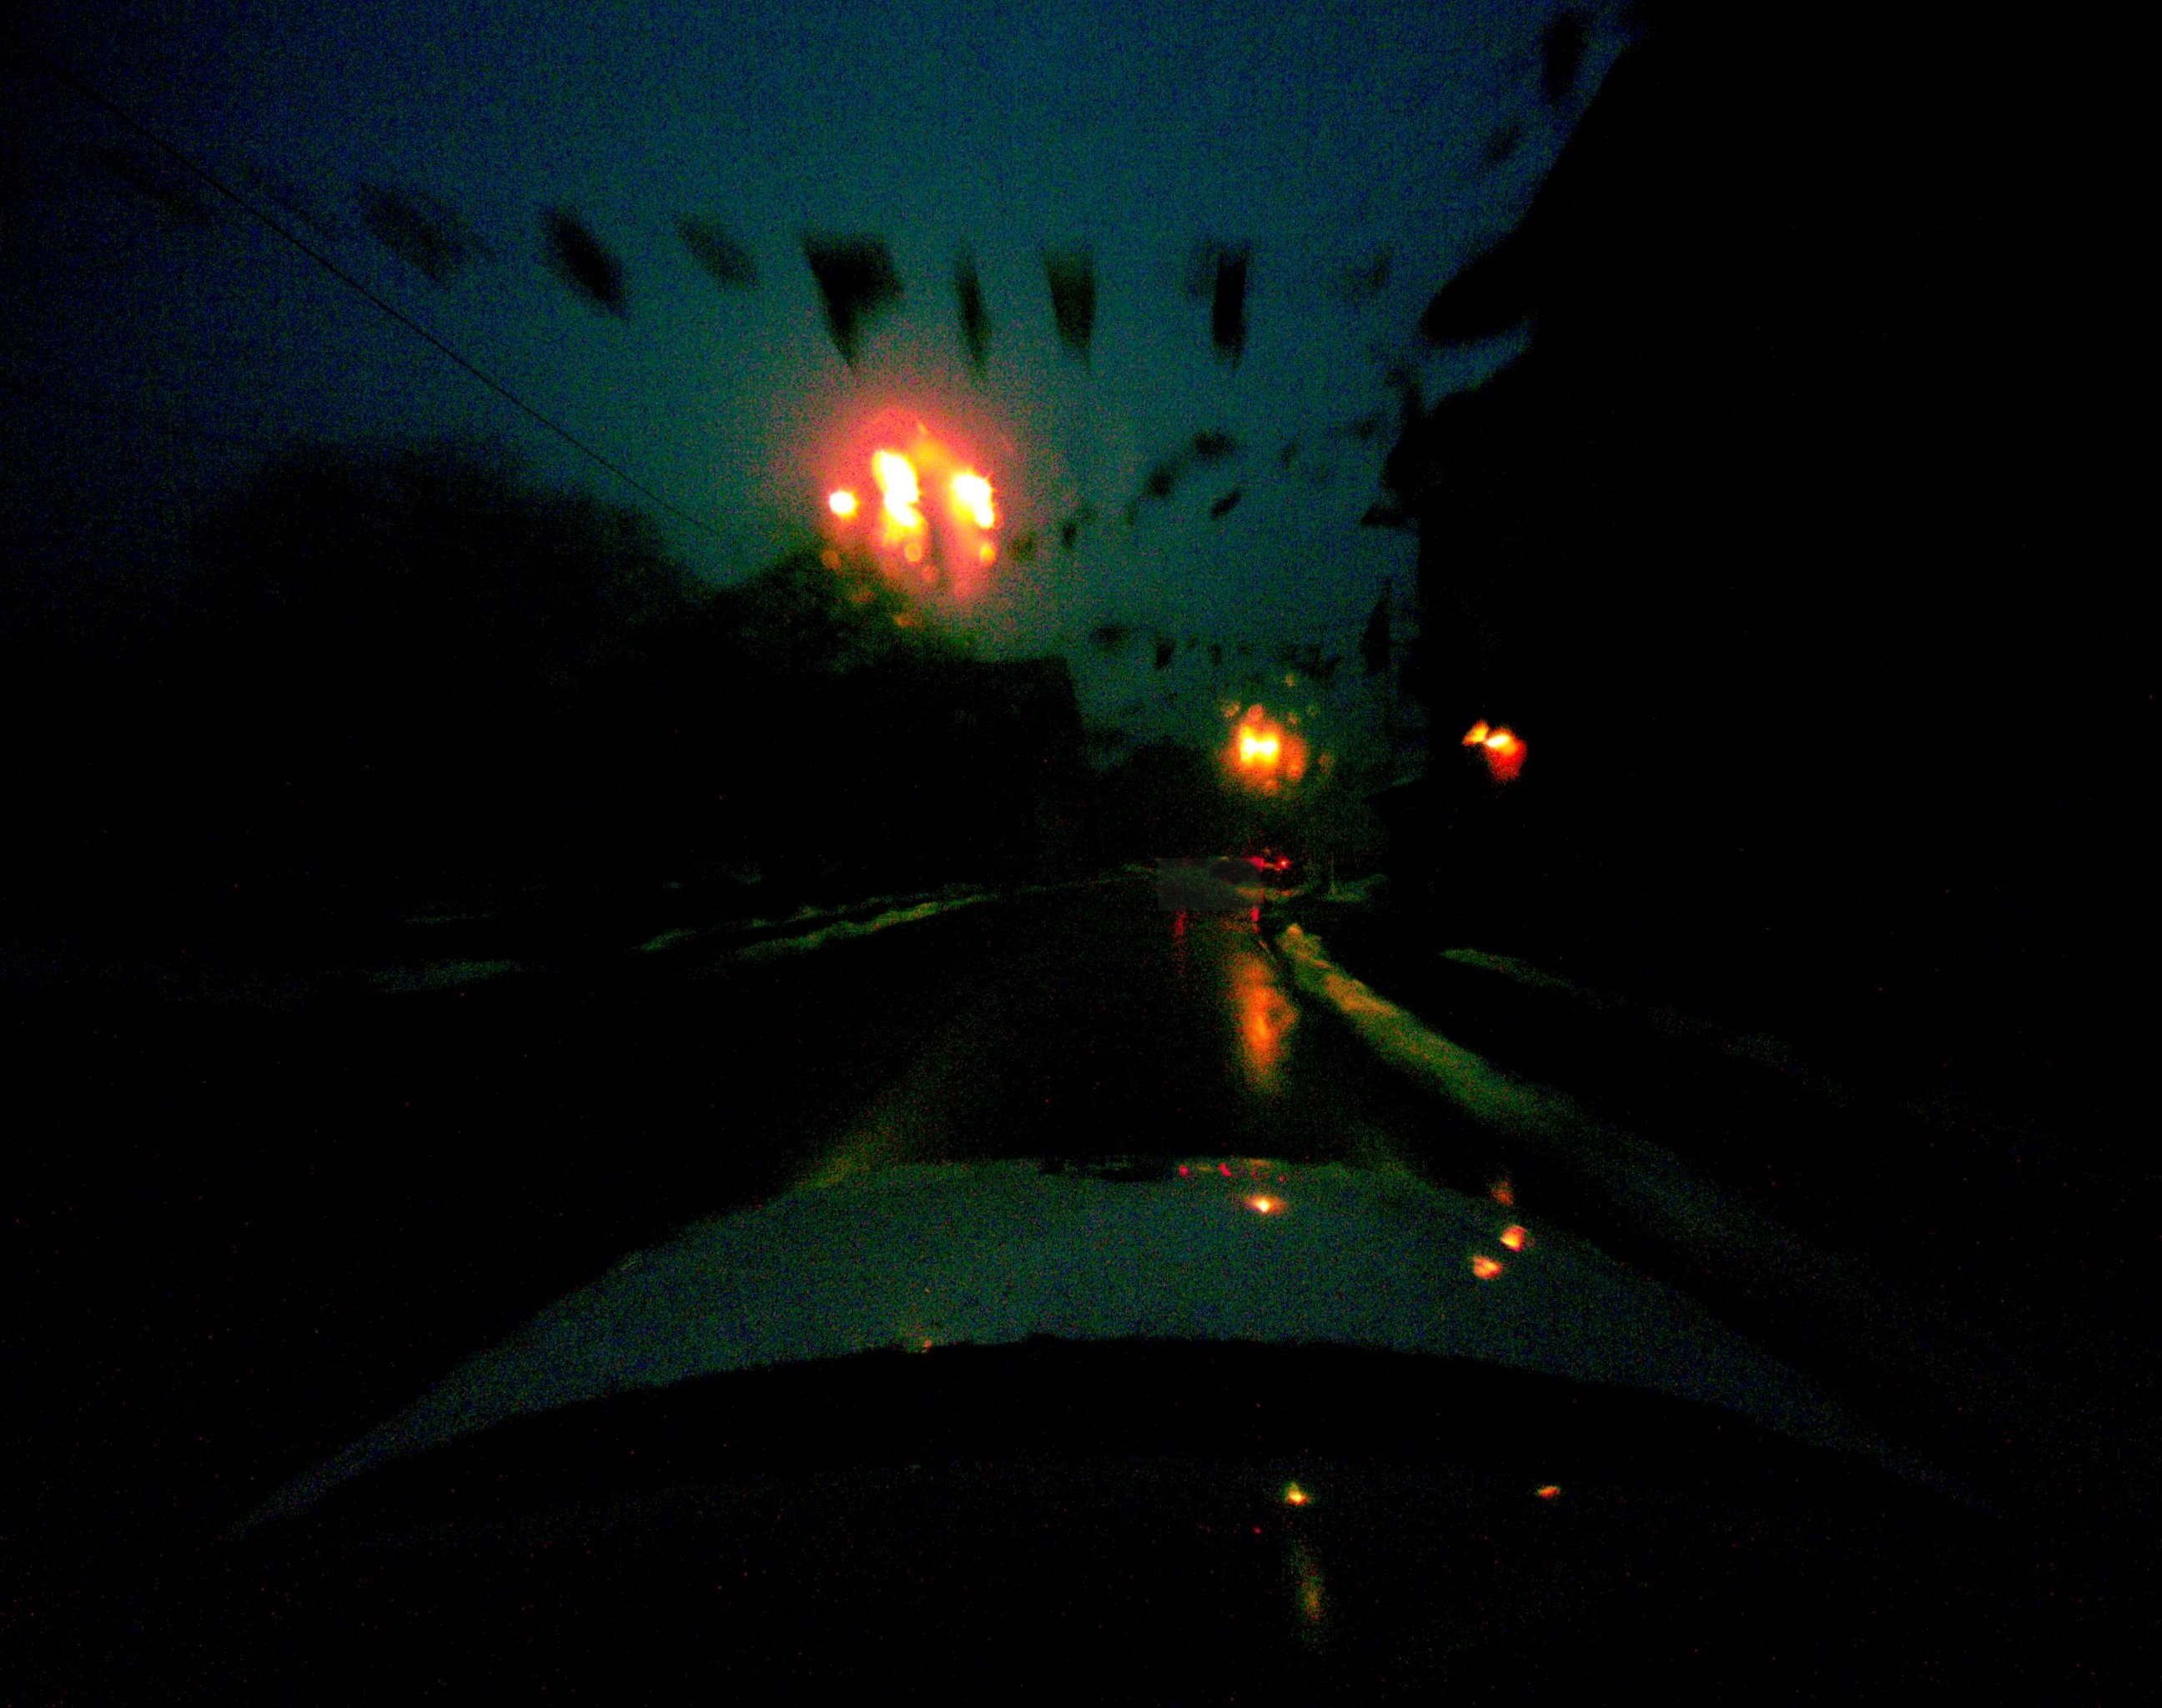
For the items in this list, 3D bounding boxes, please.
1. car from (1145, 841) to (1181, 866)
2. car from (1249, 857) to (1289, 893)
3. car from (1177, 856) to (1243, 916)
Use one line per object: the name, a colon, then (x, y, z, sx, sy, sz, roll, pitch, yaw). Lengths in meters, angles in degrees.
car: (5.338, -0.020, 52.717, 1.861, 1.504, 4.013, 2, 0, 12)
car: (8.804, 0.932, 37.978, 1.633, 1.596, 3.714, 1, 0, 15)
car: (3.753, 0.874, 24.247, 1.638, 1.596, 3.704, 1, 0, 4)
